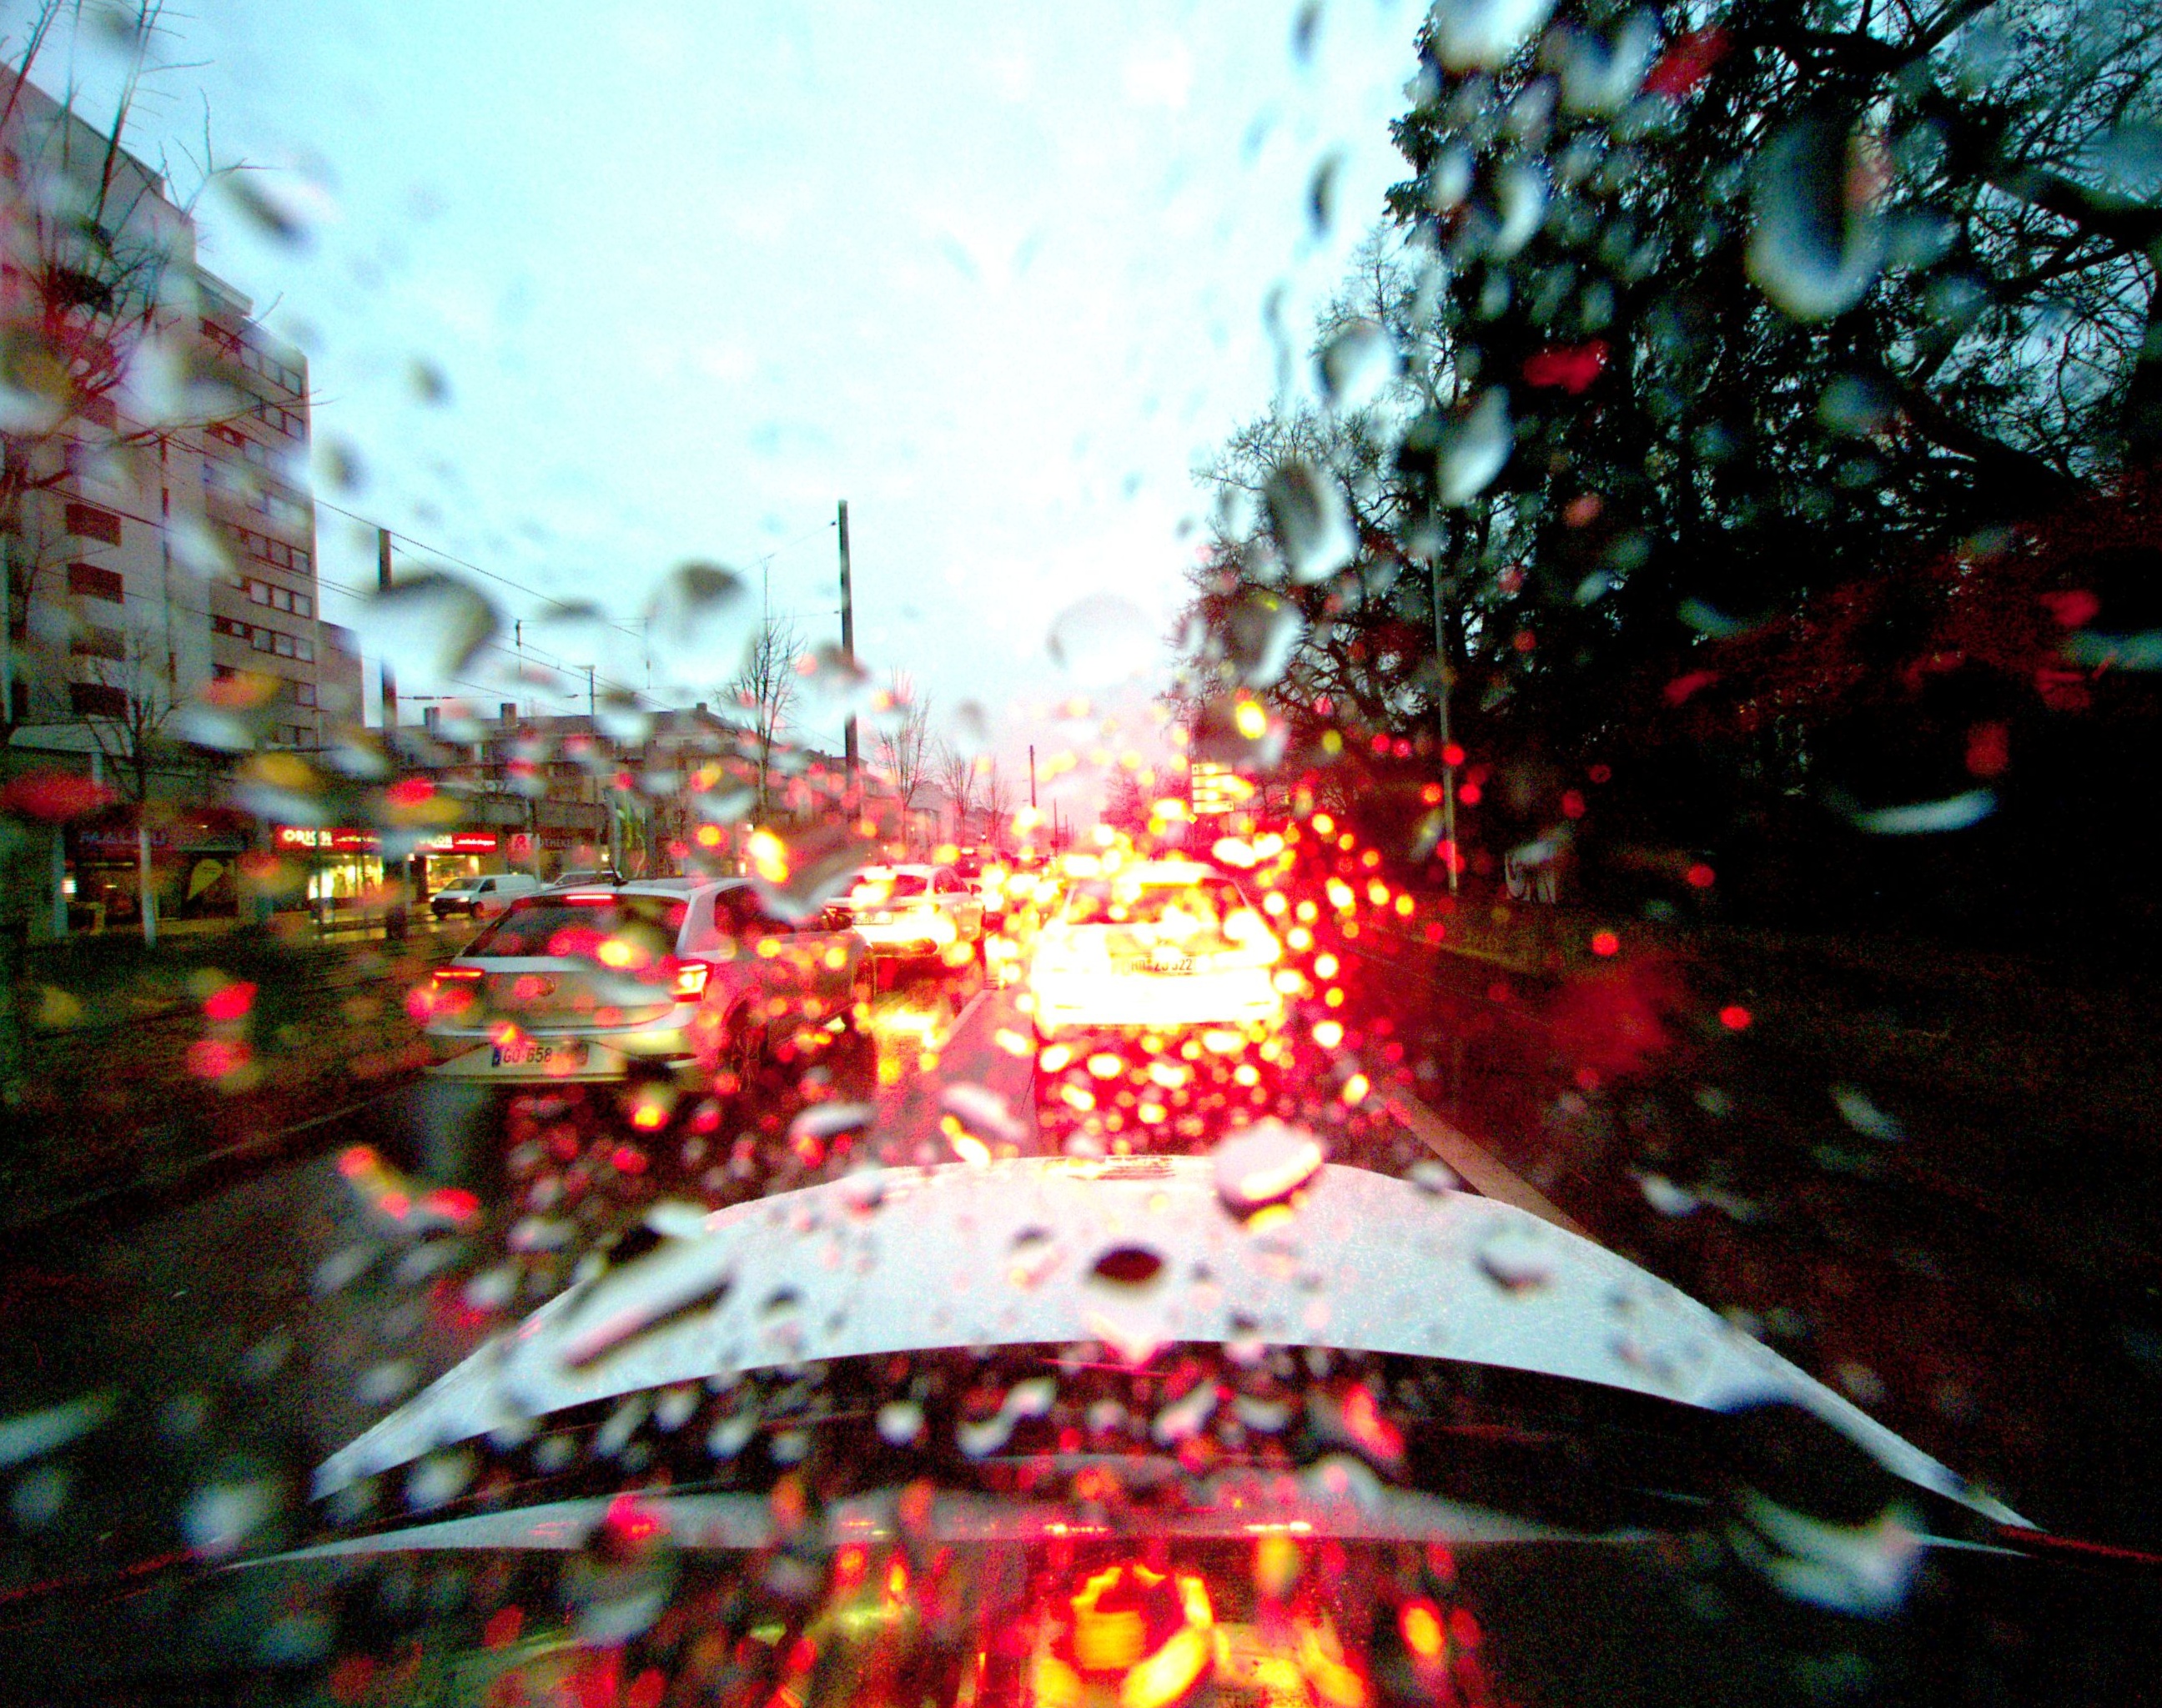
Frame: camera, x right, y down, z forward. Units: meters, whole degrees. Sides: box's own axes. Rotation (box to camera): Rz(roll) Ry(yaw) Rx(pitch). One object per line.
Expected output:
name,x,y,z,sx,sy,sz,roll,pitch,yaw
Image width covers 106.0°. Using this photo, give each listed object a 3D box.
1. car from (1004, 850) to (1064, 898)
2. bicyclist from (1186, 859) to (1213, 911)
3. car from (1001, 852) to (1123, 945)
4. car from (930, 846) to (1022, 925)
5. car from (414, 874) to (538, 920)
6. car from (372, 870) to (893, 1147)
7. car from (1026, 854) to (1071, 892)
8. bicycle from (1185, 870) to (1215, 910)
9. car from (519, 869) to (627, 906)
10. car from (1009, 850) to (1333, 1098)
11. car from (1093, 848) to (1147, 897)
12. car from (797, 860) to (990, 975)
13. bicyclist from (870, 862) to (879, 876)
car,-1.656,0.685,30.013,1.800,1.646,4.002,-1,0,2
bicyclist,3.284,0.852,22.619,0.642,1.389,0.891,-2,0,4
car,-0.243,0.714,15.197,1.928,1.457,4.165,-1,0,2
car,-2.518,0.727,20.565,1.788,1.736,4.535,-1,0,-1
car,-29.697,2.063,40.218,1.985,1.912,5.167,-3,0,3
car,-2.828,0.852,6.290,1.756,1.371,3.981,-1,0,1
car,-1.468,0.835,38.293,1.800,1.646,4.002,-1,0,2
bicycle,3.289,0.977,22.599,0.642,0.966,2.049,-2,0,4
car,-30.729,2.005,49.349,5.193,1.912,1.975,-3,0,-44
car,0.630,0.752,7.199,1.992,1.508,4.165,-1,0,2
car,1.404,0.620,29.884,1.800,1.646,4.002,-1,0,2
car,-2.631,0.820,12.605,1.840,1.405,4.614,-1,0,1
bicyclist,-22.978,1.695,90.578,0.795,1.579,0.630,0,-1,-40
